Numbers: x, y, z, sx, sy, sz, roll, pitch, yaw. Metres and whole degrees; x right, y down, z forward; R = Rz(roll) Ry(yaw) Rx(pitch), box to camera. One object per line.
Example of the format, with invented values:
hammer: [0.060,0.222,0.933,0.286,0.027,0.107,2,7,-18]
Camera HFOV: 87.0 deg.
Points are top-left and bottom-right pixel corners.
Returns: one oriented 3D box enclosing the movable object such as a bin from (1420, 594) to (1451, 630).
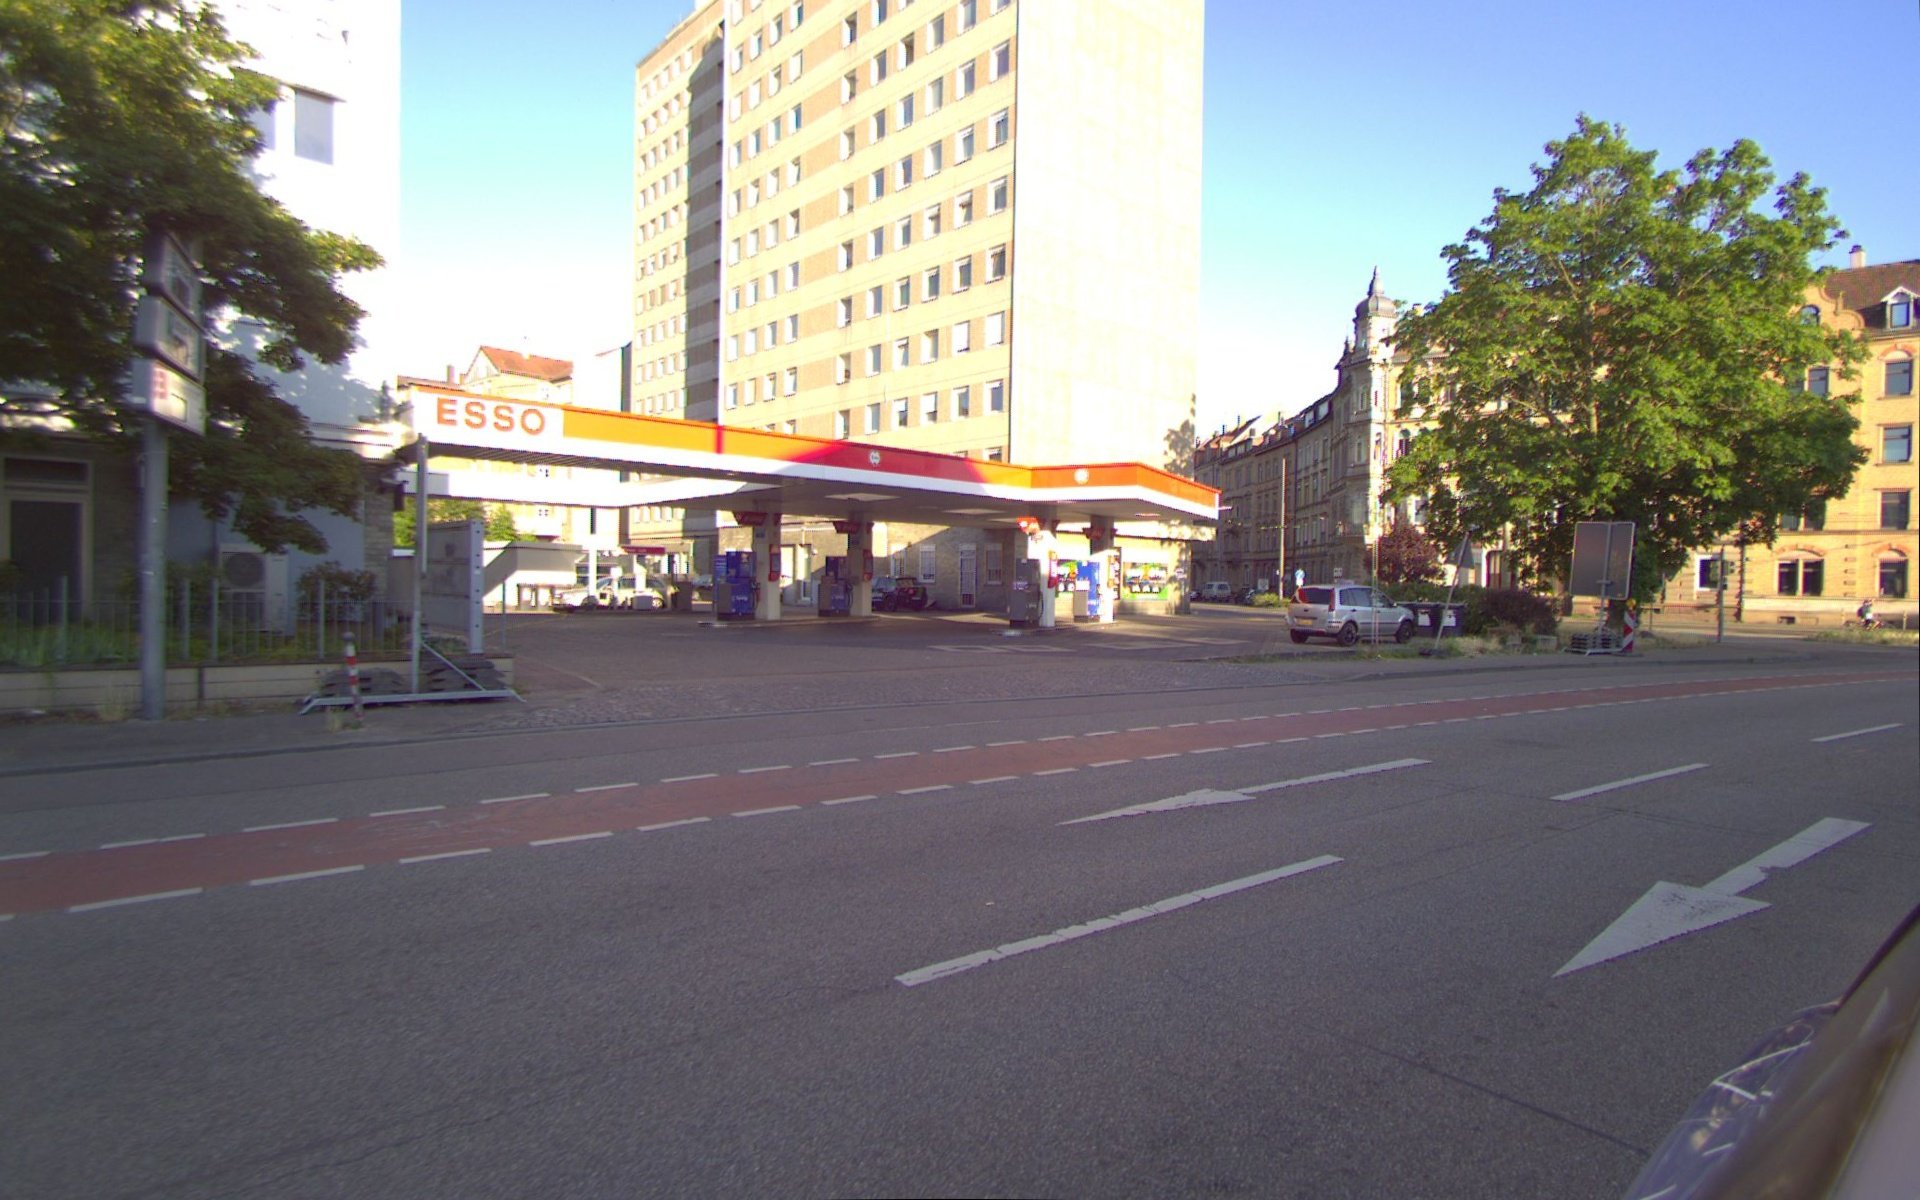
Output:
movable object such as a bin: [13.766,0.338,29.311,0.674,1.031,0.544,0,1,-35]

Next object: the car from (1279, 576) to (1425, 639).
car: [10.266,0.147,26.435,3.722,1.535,1.691,-1,2,-33]

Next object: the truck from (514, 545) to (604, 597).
truck: [-20.891,-1.503,52.758,3.931,2.591,1.997,0,1,-42]

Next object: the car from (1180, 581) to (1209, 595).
car: [25.611,-1.322,110.690,1.961,1.381,4.003,1,1,-3]

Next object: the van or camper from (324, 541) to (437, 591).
van or camper: [-33.205,-1.921,58.092,2.201,2.722,5.261,2,1,43]

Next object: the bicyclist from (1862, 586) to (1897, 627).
bicyclist: [38.607,0.251,42.494,1.062,1.669,0.721,2,1,44]

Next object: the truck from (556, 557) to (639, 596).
truck: [-17.865,-1.174,49.898,3.430,1.852,1.780,0,2,-41]

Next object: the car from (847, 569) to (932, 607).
car: [-3.077,-0.559,43.779,1.739,1.536,3.791,0,2,-41]

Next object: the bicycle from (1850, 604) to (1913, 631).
bicycle: [38.596,0.716,42.399,1.921,1.072,0.444,2,1,44]

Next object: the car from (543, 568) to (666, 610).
car: [-13.341,-0.433,38.037,3.928,1.482,1.998,0,2,-39]

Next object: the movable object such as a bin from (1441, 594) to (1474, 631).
movable object such as a bin: [14.066,0.354,28.620,0.674,1.031,0.544,0,1,-35]

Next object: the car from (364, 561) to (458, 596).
car: [-27.306,-1.040,50.381,3.832,1.630,1.683,0,0,-43]

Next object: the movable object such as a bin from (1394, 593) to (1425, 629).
movable object such as a bin: [13.293,0.312,29.927,0.674,1.031,0.544,0,1,-35]

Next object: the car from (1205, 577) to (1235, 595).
car: [26.043,-1.404,101.443,1.962,1.707,4.001,1,1,0]

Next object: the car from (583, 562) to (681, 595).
car: [-15.341,-1.005,47.379,3.928,1.482,1.998,0,2,-39]

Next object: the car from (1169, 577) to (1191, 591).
car: [25.099,-1.860,115.496,1.647,1.565,3.119,-1,0,-1]

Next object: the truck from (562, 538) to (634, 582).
truck: [-27.045,-2.965,75.703,4.657,3.106,1.998,0,1,-39]

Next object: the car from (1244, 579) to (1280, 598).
car: [25.811,-1.030,86.671,1.963,1.552,3.999,1,1,1]
